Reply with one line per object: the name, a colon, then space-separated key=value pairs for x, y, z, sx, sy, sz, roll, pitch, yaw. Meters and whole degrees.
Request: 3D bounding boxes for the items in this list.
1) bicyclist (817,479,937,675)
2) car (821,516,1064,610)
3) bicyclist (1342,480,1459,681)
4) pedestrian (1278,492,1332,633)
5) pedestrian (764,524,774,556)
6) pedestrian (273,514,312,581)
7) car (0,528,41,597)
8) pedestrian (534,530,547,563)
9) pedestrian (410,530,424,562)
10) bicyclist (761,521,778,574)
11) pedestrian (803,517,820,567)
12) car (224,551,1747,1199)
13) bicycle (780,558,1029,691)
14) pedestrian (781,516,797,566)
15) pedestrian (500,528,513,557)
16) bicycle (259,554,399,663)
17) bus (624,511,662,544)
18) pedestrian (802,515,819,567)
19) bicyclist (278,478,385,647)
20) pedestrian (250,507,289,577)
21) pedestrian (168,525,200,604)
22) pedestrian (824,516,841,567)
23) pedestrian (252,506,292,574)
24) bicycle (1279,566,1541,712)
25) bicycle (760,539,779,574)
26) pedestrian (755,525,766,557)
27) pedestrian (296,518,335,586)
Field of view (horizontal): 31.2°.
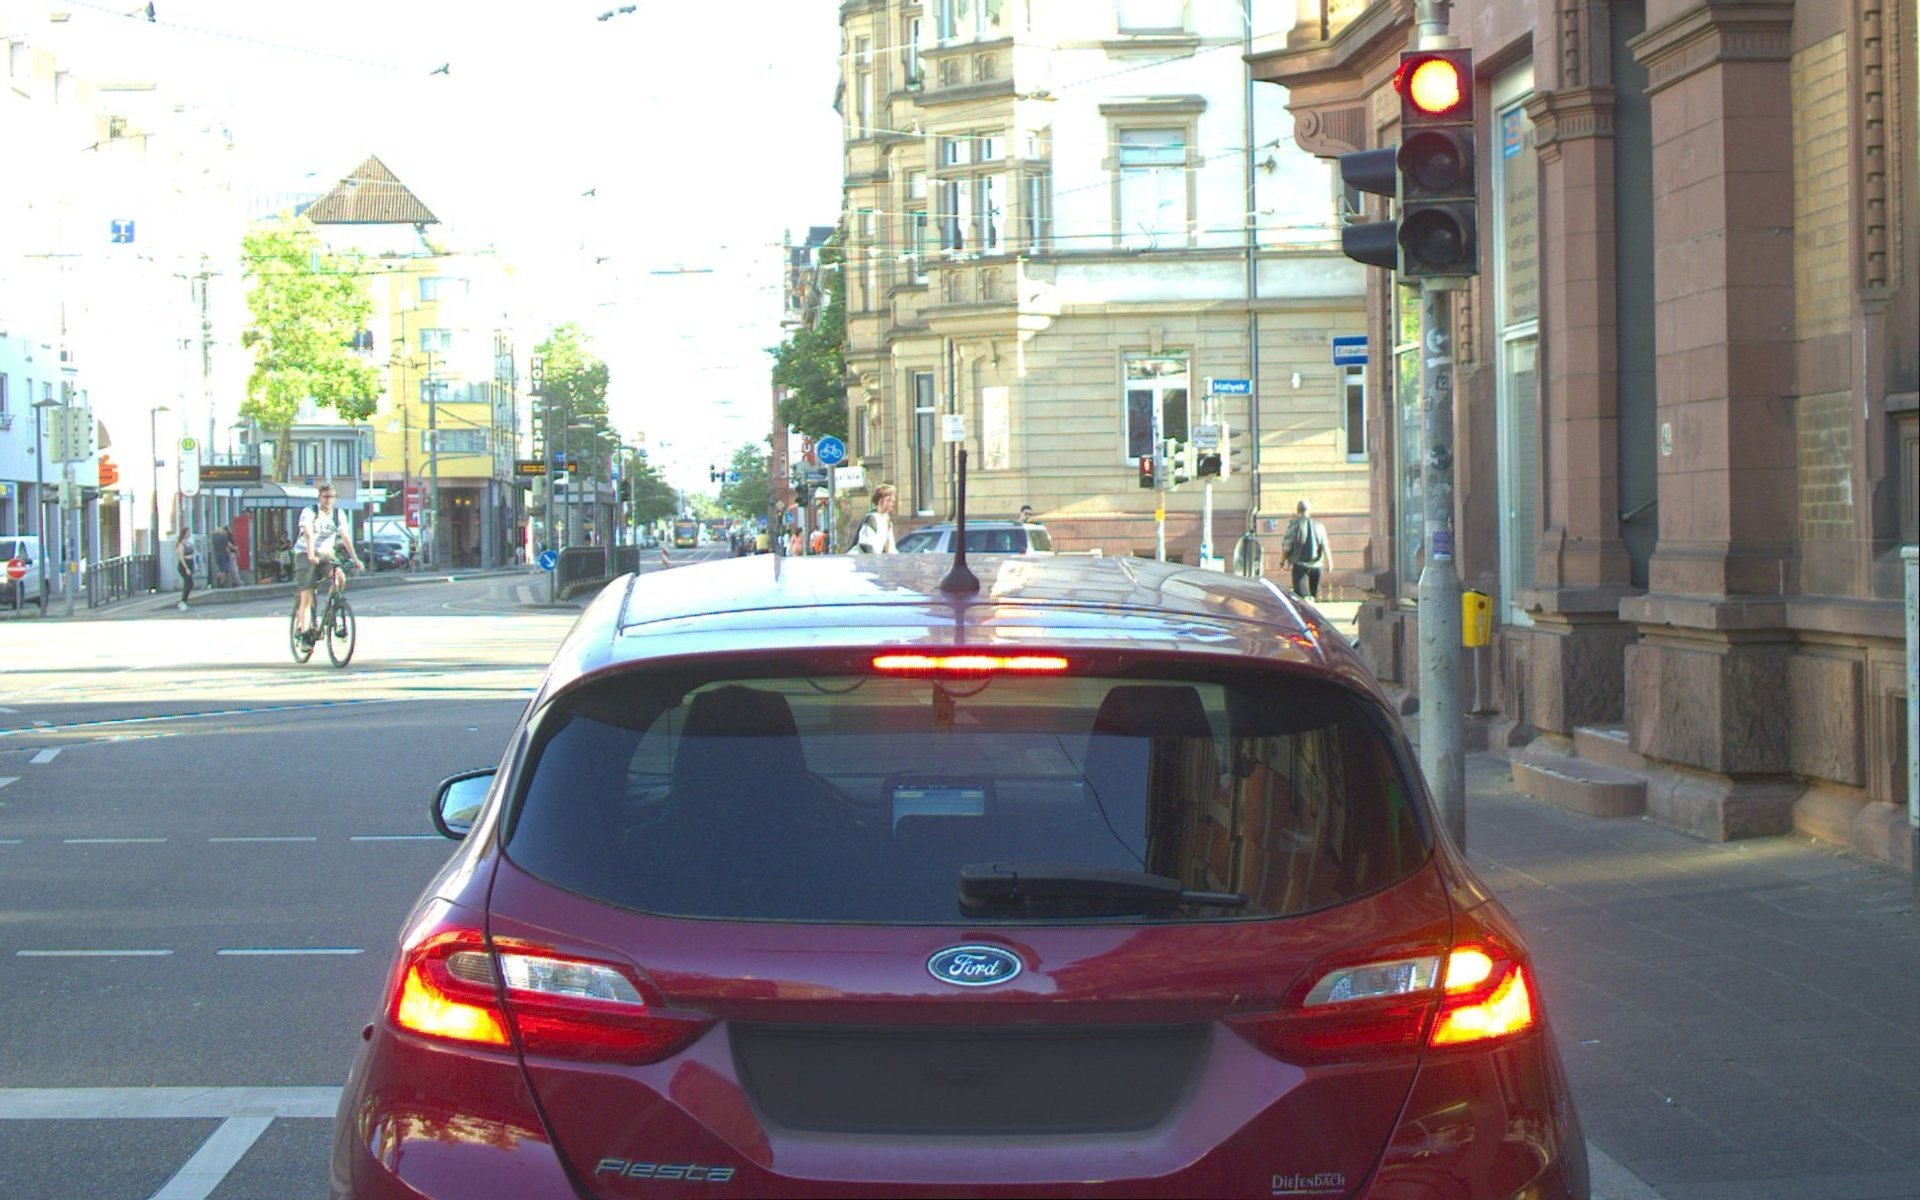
bicyclist: x=-0.739 y=-0.211 z=30.687 sx=0.792 sy=1.720 sz=0.809 roll=-1 pitch=1 yaw=21
car: x=-0.294 y=-0.637 z=59.165 sx=3.899 sy=1.543 sz=1.453 roll=-1 pitch=1 yaw=17
bicyclist: x=3.598 y=-0.161 z=28.109 sx=0.729 sy=1.621 sz=0.766 roll=1 pitch=1 yaw=-10
pedestrian: x=4.357 y=-0.480 z=43.422 sx=0.560 sy=1.749 sz=0.650 roll=-2 pitch=1 yaw=-1
pedestrian: x=-11.159 y=-3.508 z=200.624 sx=0.577 sy=1.880 sz=0.631 roll=-1 pitch=1 yaw=-3
pedestrian: x=-20.338 y=-1.611 z=104.807 sx=1.045 sy=2.007 sz=0.959 roll=-1 pitch=1 yaw=-5
car: x=-24.587 y=-0.964 z=87.381 sx=1.701 sy=1.712 sz=3.565 roll=-1 pitch=1 yaw=-4
pedestrian: x=-19.538 y=-2.493 z=159.957 sx=0.524 sy=1.483 sz=0.583 roll=-1 pitch=1 yaw=-1
pedestrian: x=-25.481 y=-2.523 z=161.293 sx=0.580 sy=1.483 sz=0.526 roll=-1 pitch=1 yaw=-5
bicyclist: x=-6.039 y=-1.661 z=108.771 sx=0.499 sy=1.670 sz=0.545 roll=-1 pitch=1 yaw=-2
pedestrian: x=-6.005 y=-2.360 z=138.991 sx=0.577 sy=2.007 sz=0.631 roll=-1 pitch=1 yaw=3
car: x=-0.133 y=0.665 z=5.928 sx=1.754 sy=1.461 sz=3.946 roll=1 pitch=1 yaw=-5
bicycle: x=-0.493 y=0.212 z=30.611 sx=2.045 sy=1.143 sz=0.809 roll=0 pitch=1 yaw=22
pedestrian: x=-6.905 y=-2.364 z=138.782 sx=0.577 sy=2.007 sz=0.631 roll=-1 pitch=1 yaw=3
pedestrian: x=-25.965 y=-3.290 z=196.712 sx=0.628 sy=1.599 sz=0.579 roll=-1 pitch=1 yaw=-20
bicycle: x=-6.943 y=0.080 z=37.740 sx=0.808 sy=1.143 sz=2.010 roll=-2 pitch=1 yaw=-32
bus: x=-20.029 y=-4.582 z=217.182 sx=1.925 sy=2.007 sz=7.138 roll=-1 pitch=1 yaw=-2
pedestrian: x=-5.830 y=-2.299 z=134.281 sx=0.577 sy=2.007 sz=0.631 roll=-1 pitch=1 yaw=3
bicyclist: x=-6.883 y=-0.419 z=37.624 sx=0.808 sy=1.815 sz=0.993 roll=-2 pitch=1 yaw=-32
pedestrian: x=-20.206 y=-1.701 z=100.629 sx=0.956 sy=2.007 sz=1.049 roll=-1 pitch=1 yaw=-3
pedestrian: x=-16.570 y=-0.766 z=73.413 sx=0.524 sy=1.676 sz=0.486 roll=-1 pitch=1 yaw=4
pedestrian: x=-4.982 y=-2.296 z=134.535 sx=0.577 sy=2.007 sz=0.631 roll=-1 pitch=1 yaw=3
pedestrian: x=-20.582 y=-1.794 z=102.894 sx=1.045 sy=2.007 sz=0.959 roll=-1 pitch=1 yaw=-5
bicycle: x=3.678 y=0.317 z=28.129 sx=2.017 sy=1.173 sz=0.628 roll=0 pitch=1 yaw=-10
bicycle: x=-6.037 y=-1.371 z=108.844 sx=0.526 sy=1.085 sz=1.486 roll=-1 pitch=1 yaw=-1
pedestrian: x=-11.847 y=-3.506 z=204.039 sx=0.577 sy=1.880 sz=0.669 roll=-1 pitch=1 yaw=-3
pedestrian: x=-19.278 y=-1.446 z=102.844 sx=1.045 sy=2.007 sz=0.959 roll=-1 pitch=1 yaw=-5
